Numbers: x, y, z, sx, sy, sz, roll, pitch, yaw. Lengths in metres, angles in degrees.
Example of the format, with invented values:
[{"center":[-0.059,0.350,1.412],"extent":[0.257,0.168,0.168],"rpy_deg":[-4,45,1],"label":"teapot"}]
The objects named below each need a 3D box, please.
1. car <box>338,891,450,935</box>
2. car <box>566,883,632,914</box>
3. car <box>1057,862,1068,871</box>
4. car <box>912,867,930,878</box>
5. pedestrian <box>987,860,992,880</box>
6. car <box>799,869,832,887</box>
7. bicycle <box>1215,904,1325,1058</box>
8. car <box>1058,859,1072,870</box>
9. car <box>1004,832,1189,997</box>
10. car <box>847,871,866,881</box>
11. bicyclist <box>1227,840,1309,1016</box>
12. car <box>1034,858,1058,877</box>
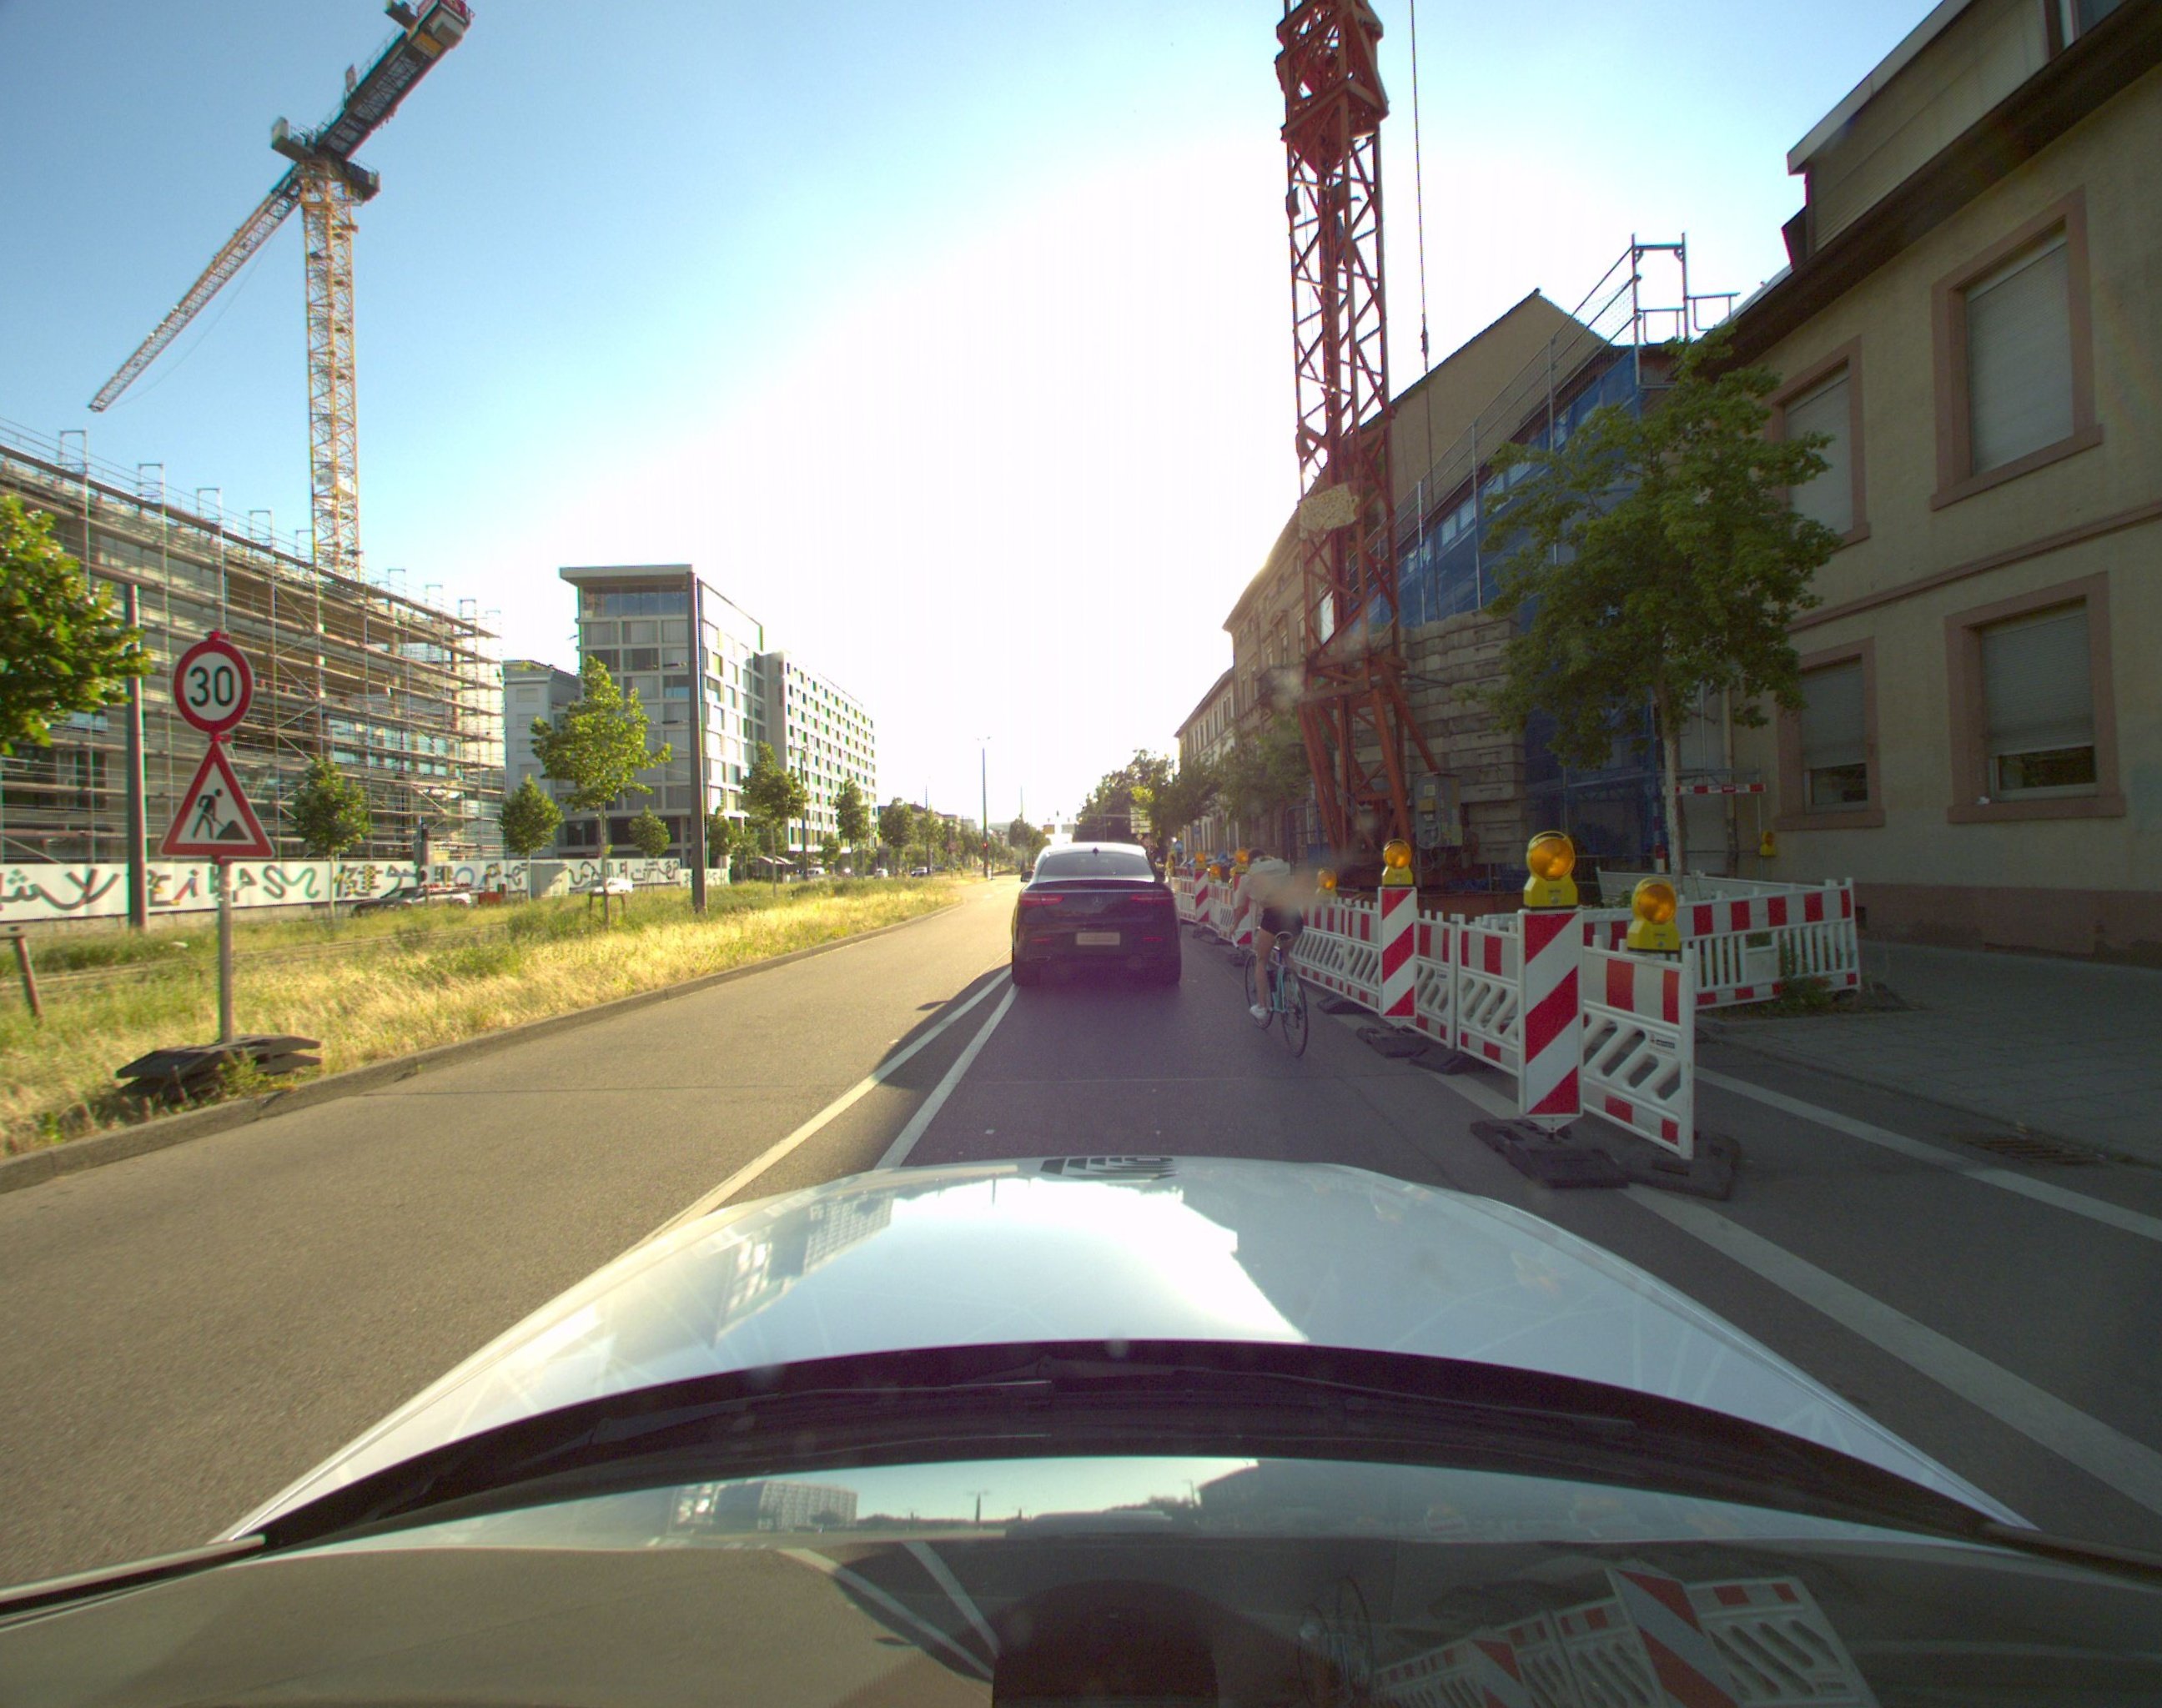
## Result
[{"center":[-30.238,2.560,35.985],"extent":[1.784,1.684,3.639],"rpy_deg":[-1,-1,1],"label":"car"},{"center":[-29.382,2.682,49.757],"extent":[1.784,1.684,3.639],"rpy_deg":[-1,-1,1],"label":"car"},{"center":[-3.176,2.127,141.088],"extent":[1.703,1.442,3.582],"rpy_deg":[-1,-1,0],"label":"car"},{"center":[-21.892,2.572,111.731],"extent":[1.703,1.442,3.582],"rpy_deg":[-1,-1,0],"label":"car"},{"center":[-8.068,1.403,71.732],"extent":[0.333,1.763,0.418],"rpy_deg":[-1,-1,0],"label":"pedestrian"},{"center":[-26.732,2.407,82.120],"extent":[1.781,1.684,3.643],"rpy_deg":[-1,-1,5],"label":"car"},{"center":[1.548,0.998,6.922],"extent":[0.510,1.052,1.724],"rpy_deg":[-1,-1,-1],"label":"bicycle"},{"center":[-2.127,1.392,108.820],"extent":[1.703,1.442,3.582],"rpy_deg":[-1,-1,0],"label":"car"},{"center":[0.235,0.676,10.819],"extent":[1.986,1.772,4.002],"rpy_deg":[-1,-1,2],"label":"car"},{"center":[-31.734,3.092,115.168],"extent":[1.703,1.442,3.582],"rpy_deg":[-1,-1,0],"label":"car"},{"center":[1.543,0.589,6.792],"extent":[0.521,1.395,0.614],"rpy_deg":[-1,-1,-1],"label":"bicyclist"},{"center":[-2.775,1.057,64.737],"extent":[1.703,1.442,3.582],"rpy_deg":[-1,0,0],"label":"car"}]
